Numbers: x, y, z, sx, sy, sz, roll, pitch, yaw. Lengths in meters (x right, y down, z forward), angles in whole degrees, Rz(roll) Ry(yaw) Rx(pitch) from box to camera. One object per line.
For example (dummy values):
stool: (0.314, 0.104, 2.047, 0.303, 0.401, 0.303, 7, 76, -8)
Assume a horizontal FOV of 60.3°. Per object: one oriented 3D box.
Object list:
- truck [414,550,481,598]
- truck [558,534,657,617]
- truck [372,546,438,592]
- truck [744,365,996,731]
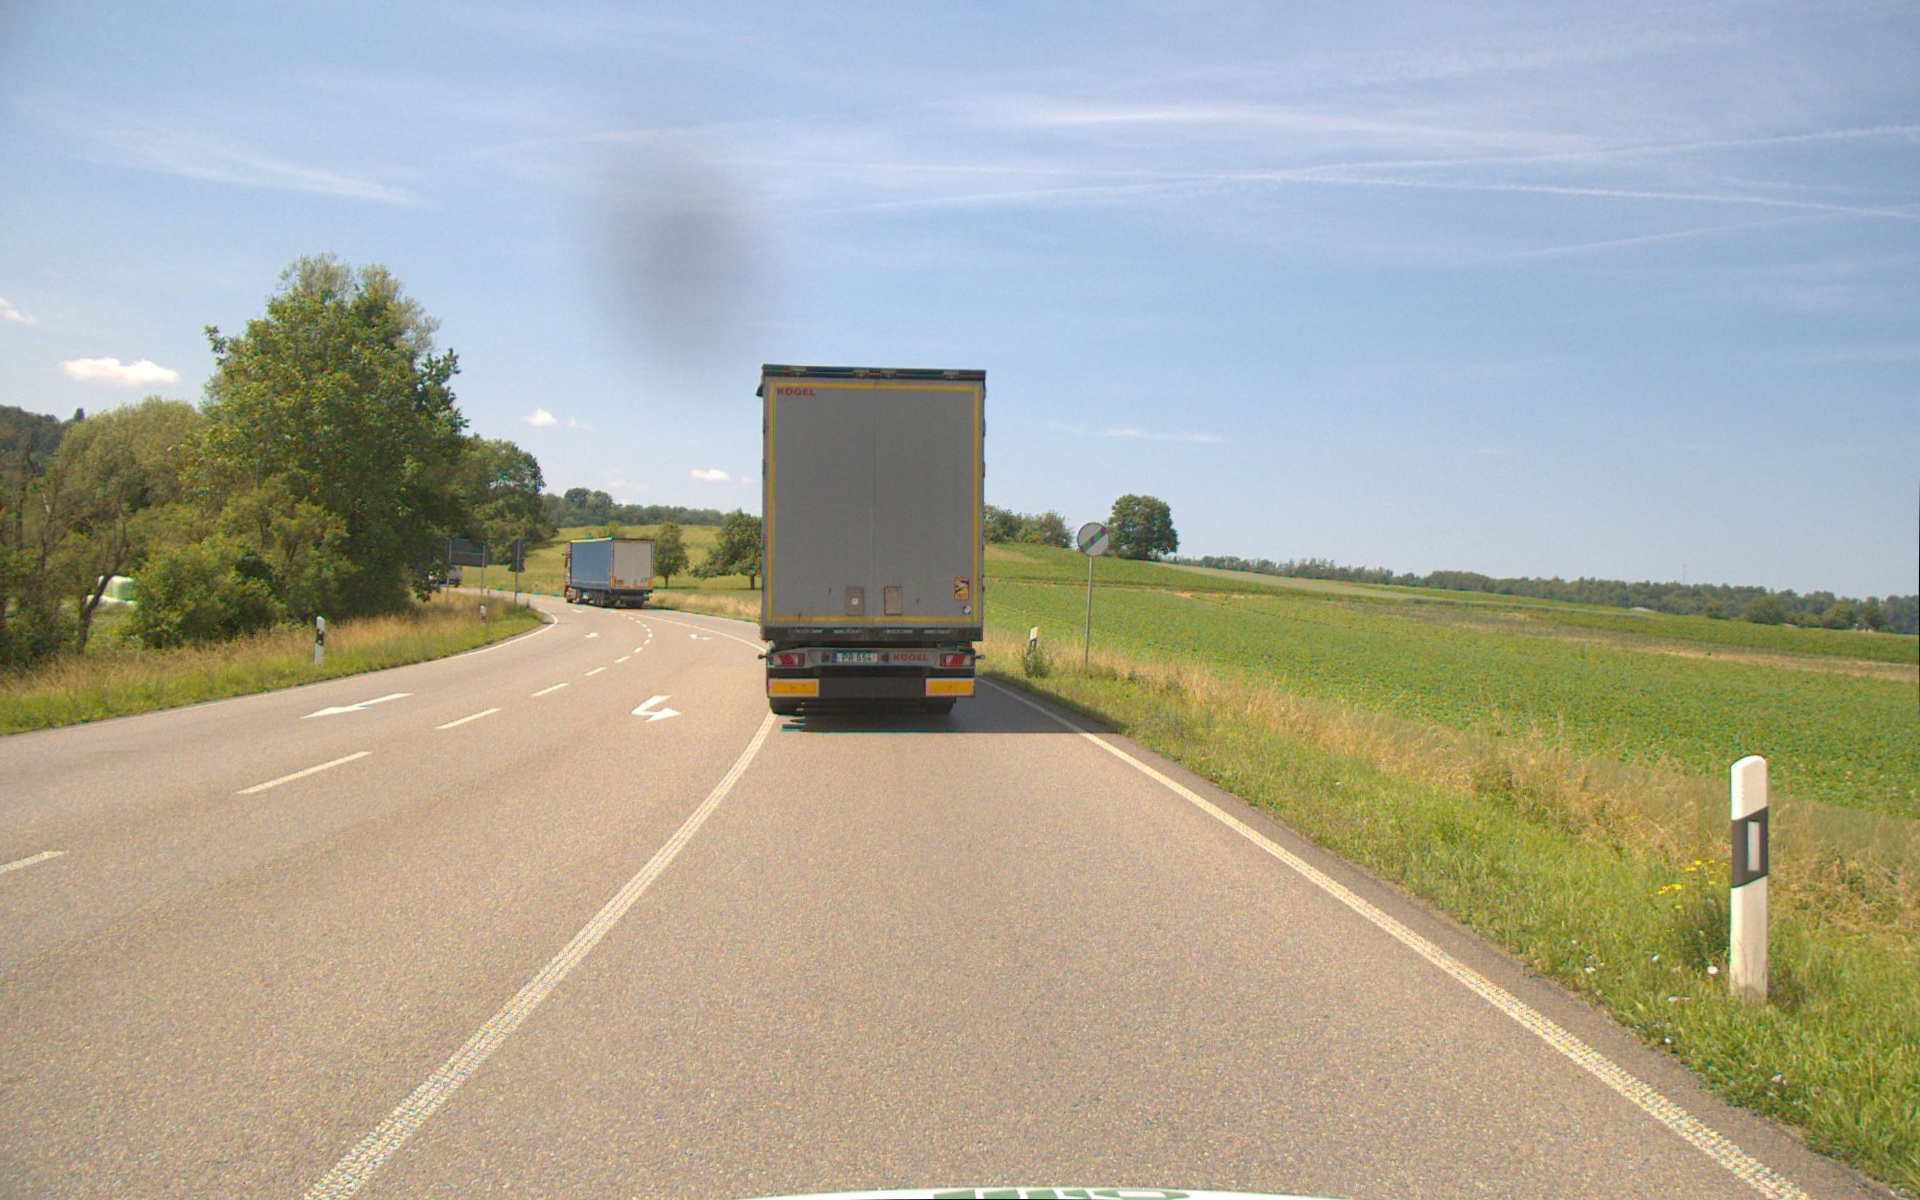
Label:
truck: (-49.540, -2.397, 159.656, 3.596, 4.201, 12.975, 4, -2, -28)
truck: (-22.221, -1.548, 103.422, 2.921, 4.664, 16.201, 3, 0, -23)
truck: (-58.213, -3.138, 173.203, 3.494, 4.315, 13.263, 4, -2, -31)
truck: (-1.478, -0.572, 23.108, 2.754, 4.015, 9.578, 1, 0, -6)
